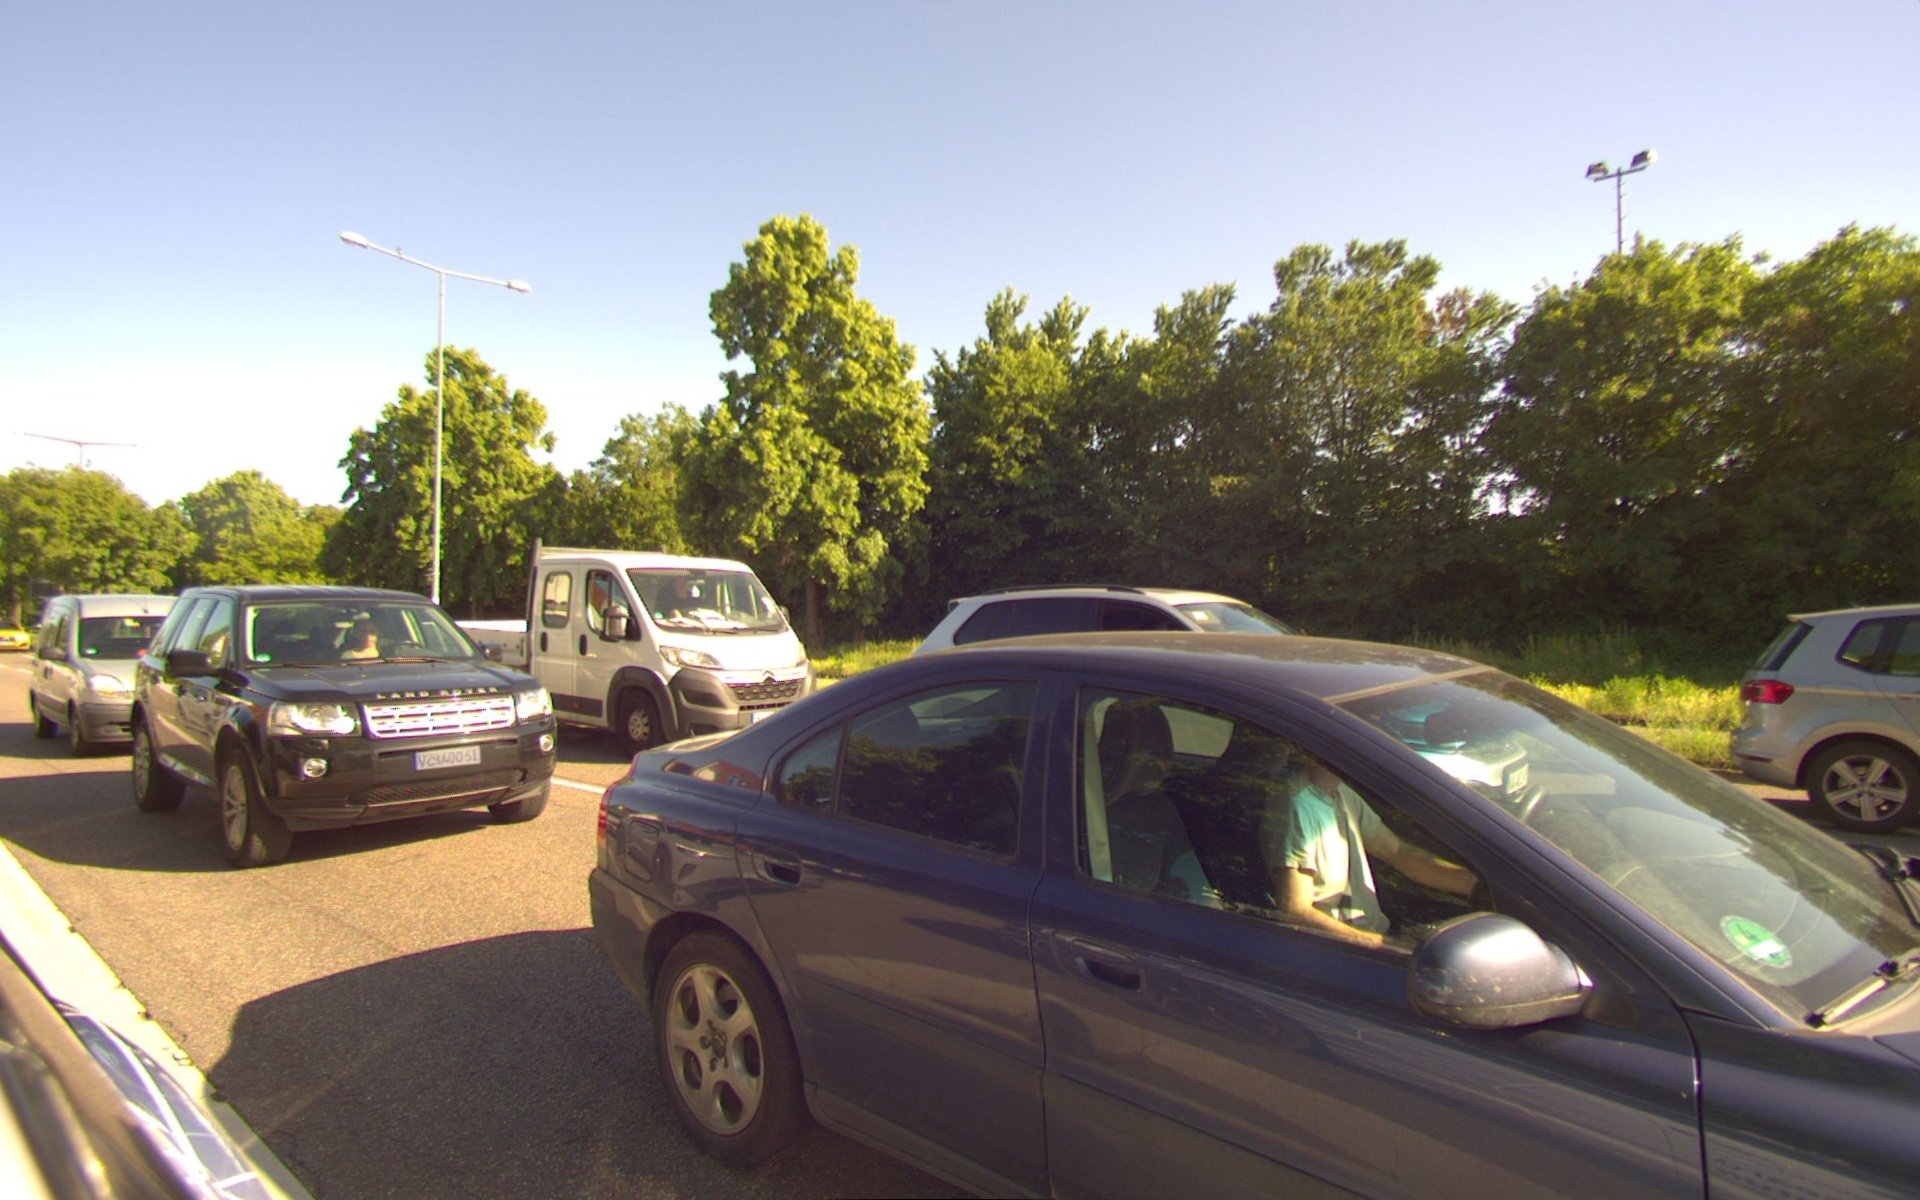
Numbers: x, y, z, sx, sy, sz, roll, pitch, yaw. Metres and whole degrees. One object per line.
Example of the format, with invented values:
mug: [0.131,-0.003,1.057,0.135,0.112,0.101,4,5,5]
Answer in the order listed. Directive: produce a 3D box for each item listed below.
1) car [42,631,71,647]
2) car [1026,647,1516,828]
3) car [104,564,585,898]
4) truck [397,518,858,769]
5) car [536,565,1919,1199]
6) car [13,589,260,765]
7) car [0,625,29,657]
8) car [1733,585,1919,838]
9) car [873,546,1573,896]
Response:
car: [-99.905,4.335,111.871,3.998,1.697,1.854,-2,-3,41]
car: [3.034,1.229,10.540,4.550,1.440,1.811,-2,-3,41]
car: [-4.692,0.705,7.421,4.384,1.744,1.793,-1,-1,41]
truck: [-4.410,0.440,12.458,6.838,2.337,2.158,-1,-1,40]
car: [0.895,0.694,2.426,4.454,1.463,1.757,-1,0,41]
car: [-10.048,0.800,12.223,4.384,1.765,1.611,-1,-1,41]
car: [-45.530,1.928,47.932,3.929,1.486,1.682,-2,-2,41]
car: [7.634,0.720,6.414,4.206,1.623,1.810,-2,-3,42]
car: [1.625,0.670,7.217,4.422,1.723,1.973,-2,-3,41]
